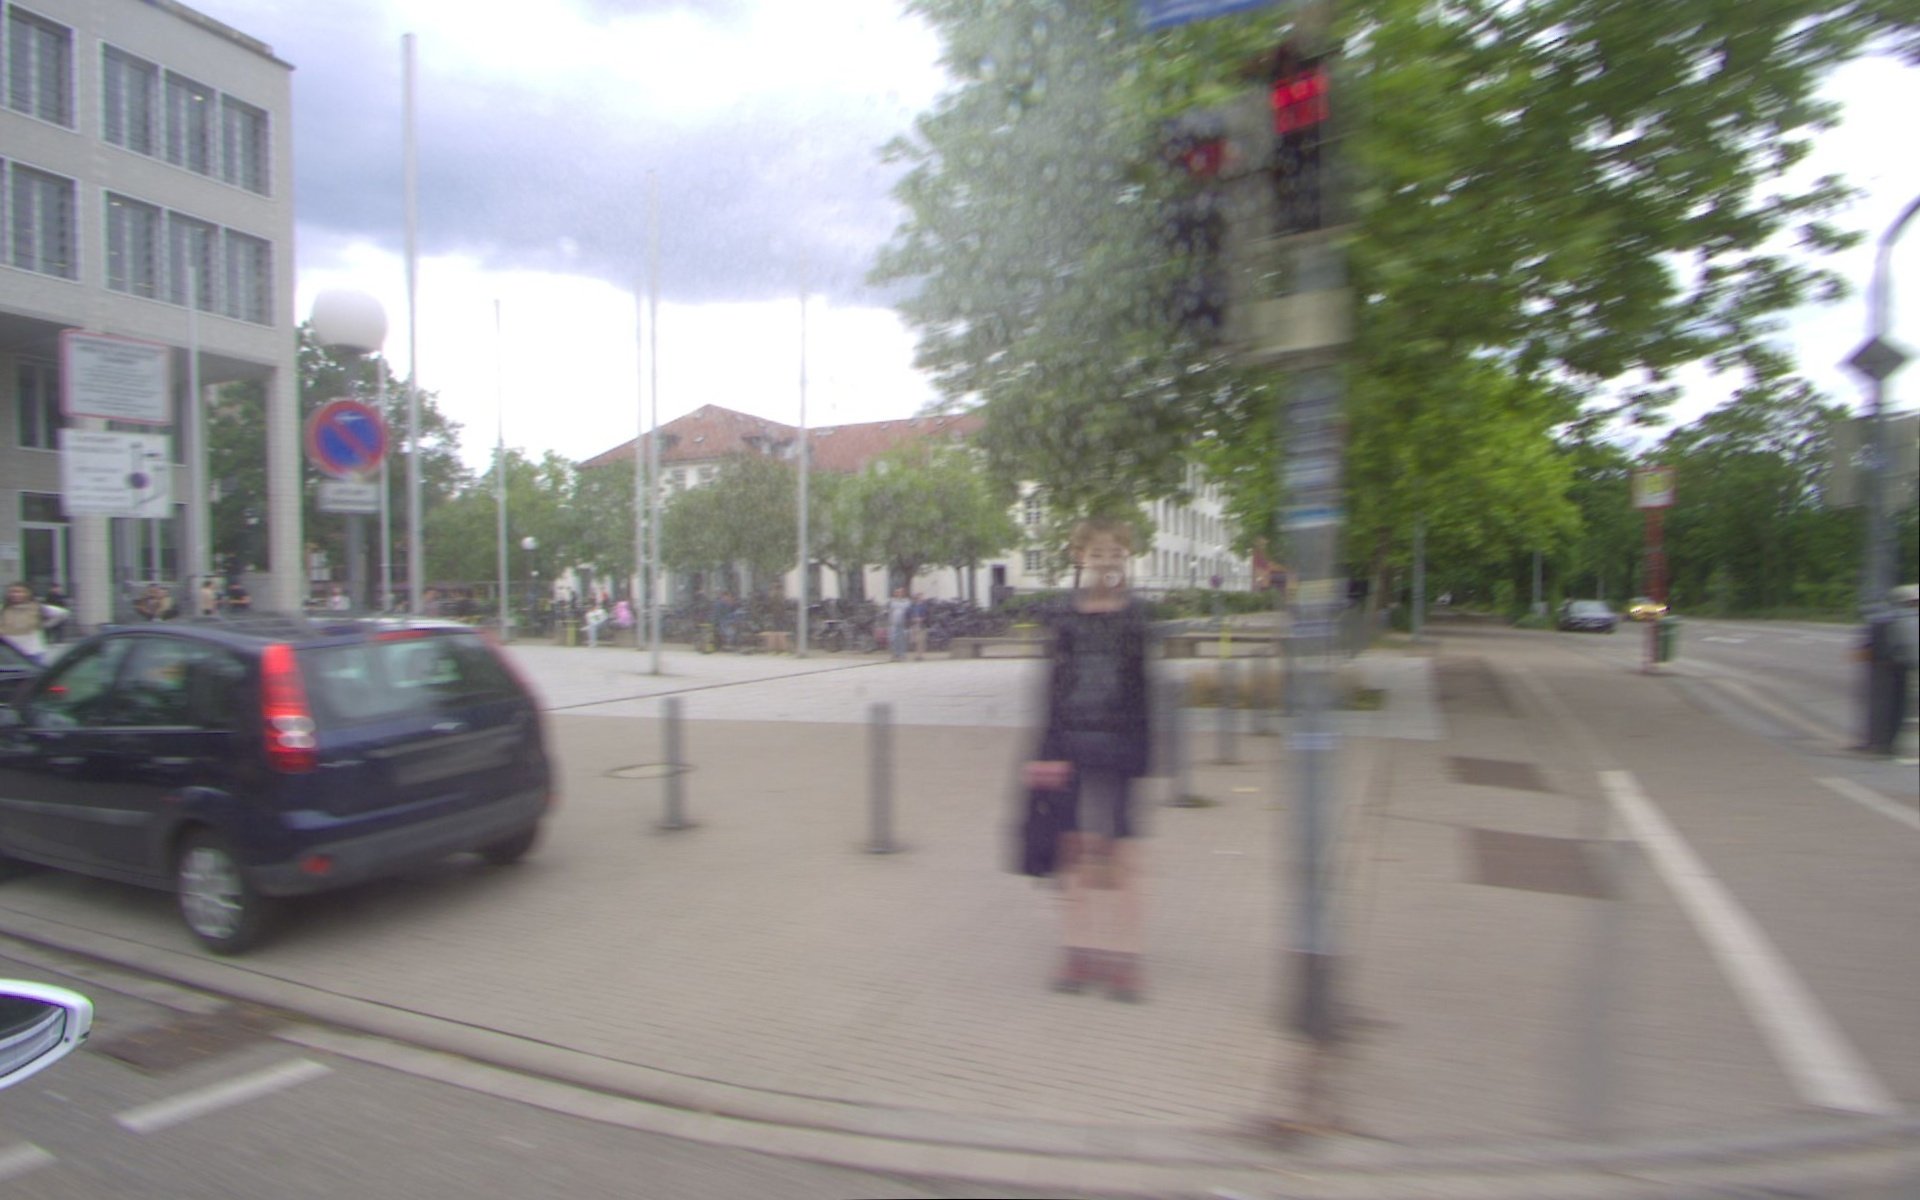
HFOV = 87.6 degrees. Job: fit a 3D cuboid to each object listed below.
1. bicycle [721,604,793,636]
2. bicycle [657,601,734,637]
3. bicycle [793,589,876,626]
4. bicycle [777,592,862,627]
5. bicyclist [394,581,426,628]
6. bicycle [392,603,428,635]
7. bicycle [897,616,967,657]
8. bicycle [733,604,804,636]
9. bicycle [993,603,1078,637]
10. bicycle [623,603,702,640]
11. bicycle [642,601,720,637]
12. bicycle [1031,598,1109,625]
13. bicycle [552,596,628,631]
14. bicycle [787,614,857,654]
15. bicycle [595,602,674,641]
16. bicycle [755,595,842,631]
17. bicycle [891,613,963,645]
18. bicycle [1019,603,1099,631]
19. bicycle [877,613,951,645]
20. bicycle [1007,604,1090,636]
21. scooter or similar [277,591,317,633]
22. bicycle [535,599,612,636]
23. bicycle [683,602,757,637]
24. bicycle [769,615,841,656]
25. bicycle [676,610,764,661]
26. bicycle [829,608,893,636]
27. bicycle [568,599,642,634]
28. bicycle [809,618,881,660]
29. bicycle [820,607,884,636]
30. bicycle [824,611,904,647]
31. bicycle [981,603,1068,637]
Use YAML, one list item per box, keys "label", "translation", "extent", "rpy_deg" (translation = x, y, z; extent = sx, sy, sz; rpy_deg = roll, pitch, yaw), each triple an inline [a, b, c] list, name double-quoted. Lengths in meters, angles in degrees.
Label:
- label: "bicycle"
  translation: [-8.420, 0.818, 41.522]
  extent: [3.057, 1.185, 0.745]
  rpy_deg: [3, 0, 26]
- label: "bicycle"
  translation: [-9.988, 0.720, 37.821]
  extent: [3.057, 1.185, 0.745]
  rpy_deg: [3, 0, 27]
- label: "bicycle"
  translation: [-4.524, 0.271, 36.008]
  extent: [3.057, 1.185, 0.745]
  rpy_deg: [3, 0, 27]
- label: "bicycle"
  translation: [-4.942, 0.309, 35.067]
  extent: [3.058, 1.185, 0.745]
  rpy_deg: [0, 0, 27]
- label: "bicyclist"
  translation: [-20.066, 0.169, 36.516]
  extent: [0.866, 1.663, 0.861]
  rpy_deg: [0, 1, -39]
- label: "bicycle"
  translation: [-20.073, 0.680, 36.532]
  extent: [0.866, 1.108, 1.786]
  rpy_deg: [1, 0, -39]
- label: "bicycle"
  translation: [-0.776, 1.011, 27.822]
  extent: [1.902, 1.063, 0.456]
  rpy_deg: [1, 1, 21]
- label: "bicycle"
  translation: [-8.071, 0.840, 42.217]
  extent: [3.057, 1.185, 0.745]
  rpy_deg: [3, 0, 26]
- label: "bicycle"
  translation: [3.104, 0.815, 41.370]
  extent: [3.343, 1.185, 1.051]
  rpy_deg: [3, 0, 31]
- label: "bicycle"
  translation: [-10.806, 0.771, 36.331]
  extent: [3.057, 1.185, 0.745]
  rpy_deg: [3, 0, 27]
- label: "bicycle"
  translation: [-10.352, 0.698, 37.131]
  extent: [3.057, 1.185, 0.745]
  rpy_deg: [3, 0, 27]
- label: "bicycle"
  translation: [4.858, 0.495, 44.403]
  extent: [3.344, 1.185, 1.050]
  rpy_deg: [0, 0, 31]
- label: "bicycle"
  translation: [-13.934, 0.501, 37.674]
  extent: [3.058, 1.185, 0.745]
  rpy_deg: [3, 0, 27]
- label: "bicycle"
  translation: [-3.887, 0.960, 28.254]
  extent: [1.899, 1.063, 0.457]
  rpy_deg: [1, 1, 11]
- label: "bicycle"
  translation: [-11.382, 0.735, 34.991]
  extent: [3.057, 1.185, 0.620]
  rpy_deg: [3, 0, 27]
- label: "bicycle"
  translation: [-5.505, 0.441, 34.022]
  extent: [3.058, 1.185, 0.745]
  rpy_deg: [0, 0, 27]
- label: "bicycle"
  translation: [-1.439, 1.246, 43.149]
  extent: [3.057, 1.185, 0.745]
  rpy_deg: [3, 0, 27]
- label: "bicycle"
  translation: [4.283, 0.736, 43.434]
  extent: [3.344, 1.185, 1.050]
  rpy_deg: [-1, -1, 31]
- label: "bicycle"
  translation: [-1.945, 1.215, 42.069]
  extent: [3.057, 1.185, 0.745]
  rpy_deg: [3, 0, 27]
- label: "bicycle"
  translation: [3.740, 0.853, 42.474]
  extent: [3.343, 1.185, 1.051]
  rpy_deg: [3, 0, 31]
- label: "scooter or similar"
  translation: [-22.903, 0.400, 34.601]
  extent: [0.397, 1.387, 1.491]
  rpy_deg: [3, 0, -2]
- label: "bicycle"
  translation: [-14.289, 0.626, 36.971]
  extent: [3.057, 1.185, 0.745]
  rpy_deg: [3, 0, 27]
- label: "bicycle"
  translation: [-9.431, 0.755, 39.272]
  extent: [3.057, 1.185, 0.745]
  rpy_deg: [3, 0, 27]
- label: "bicycle"
  translation: [-4.232, 0.967, 27.386]
  extent: [1.899, 1.063, 0.457]
  rpy_deg: [1, 1, 11]
- label: "bicycle"
  translation: [-6.317, 0.928, 26.293]
  extent: [2.371, 1.185, 0.456]
  rpy_deg: [3, 1, 21]
- label: "bicycle"
  translation: [-4.765, 1.039, 48.142]
  extent: [3.057, 1.185, 0.745]
  rpy_deg: [3, 0, 26]
- label: "bicycle"
  translation: [-13.616, 0.635, 38.390]
  extent: [3.057, 1.185, 0.745]
  rpy_deg: [3, 0, 27]
- label: "bicycle"
  translation: [-3.062, 1.024, 26.644]
  extent: [1.902, 1.063, 0.456]
  rpy_deg: [1, 1, 21]
- label: "bicycle"
  translation: [-5.127, 1.016, 47.353]
  extent: [3.057, 1.185, 0.745]
  rpy_deg: [3, 0, 26]
- label: "bicycle"
  translation: [-3.675, 1.107, 38.148]
  extent: [3.057, 1.185, 0.745]
  rpy_deg: [3, 0, 27]
- label: "bicycle"
  translation: [2.572, 0.782, 40.135]
  extent: [3.343, 1.185, 1.051]
  rpy_deg: [3, 0, 31]
